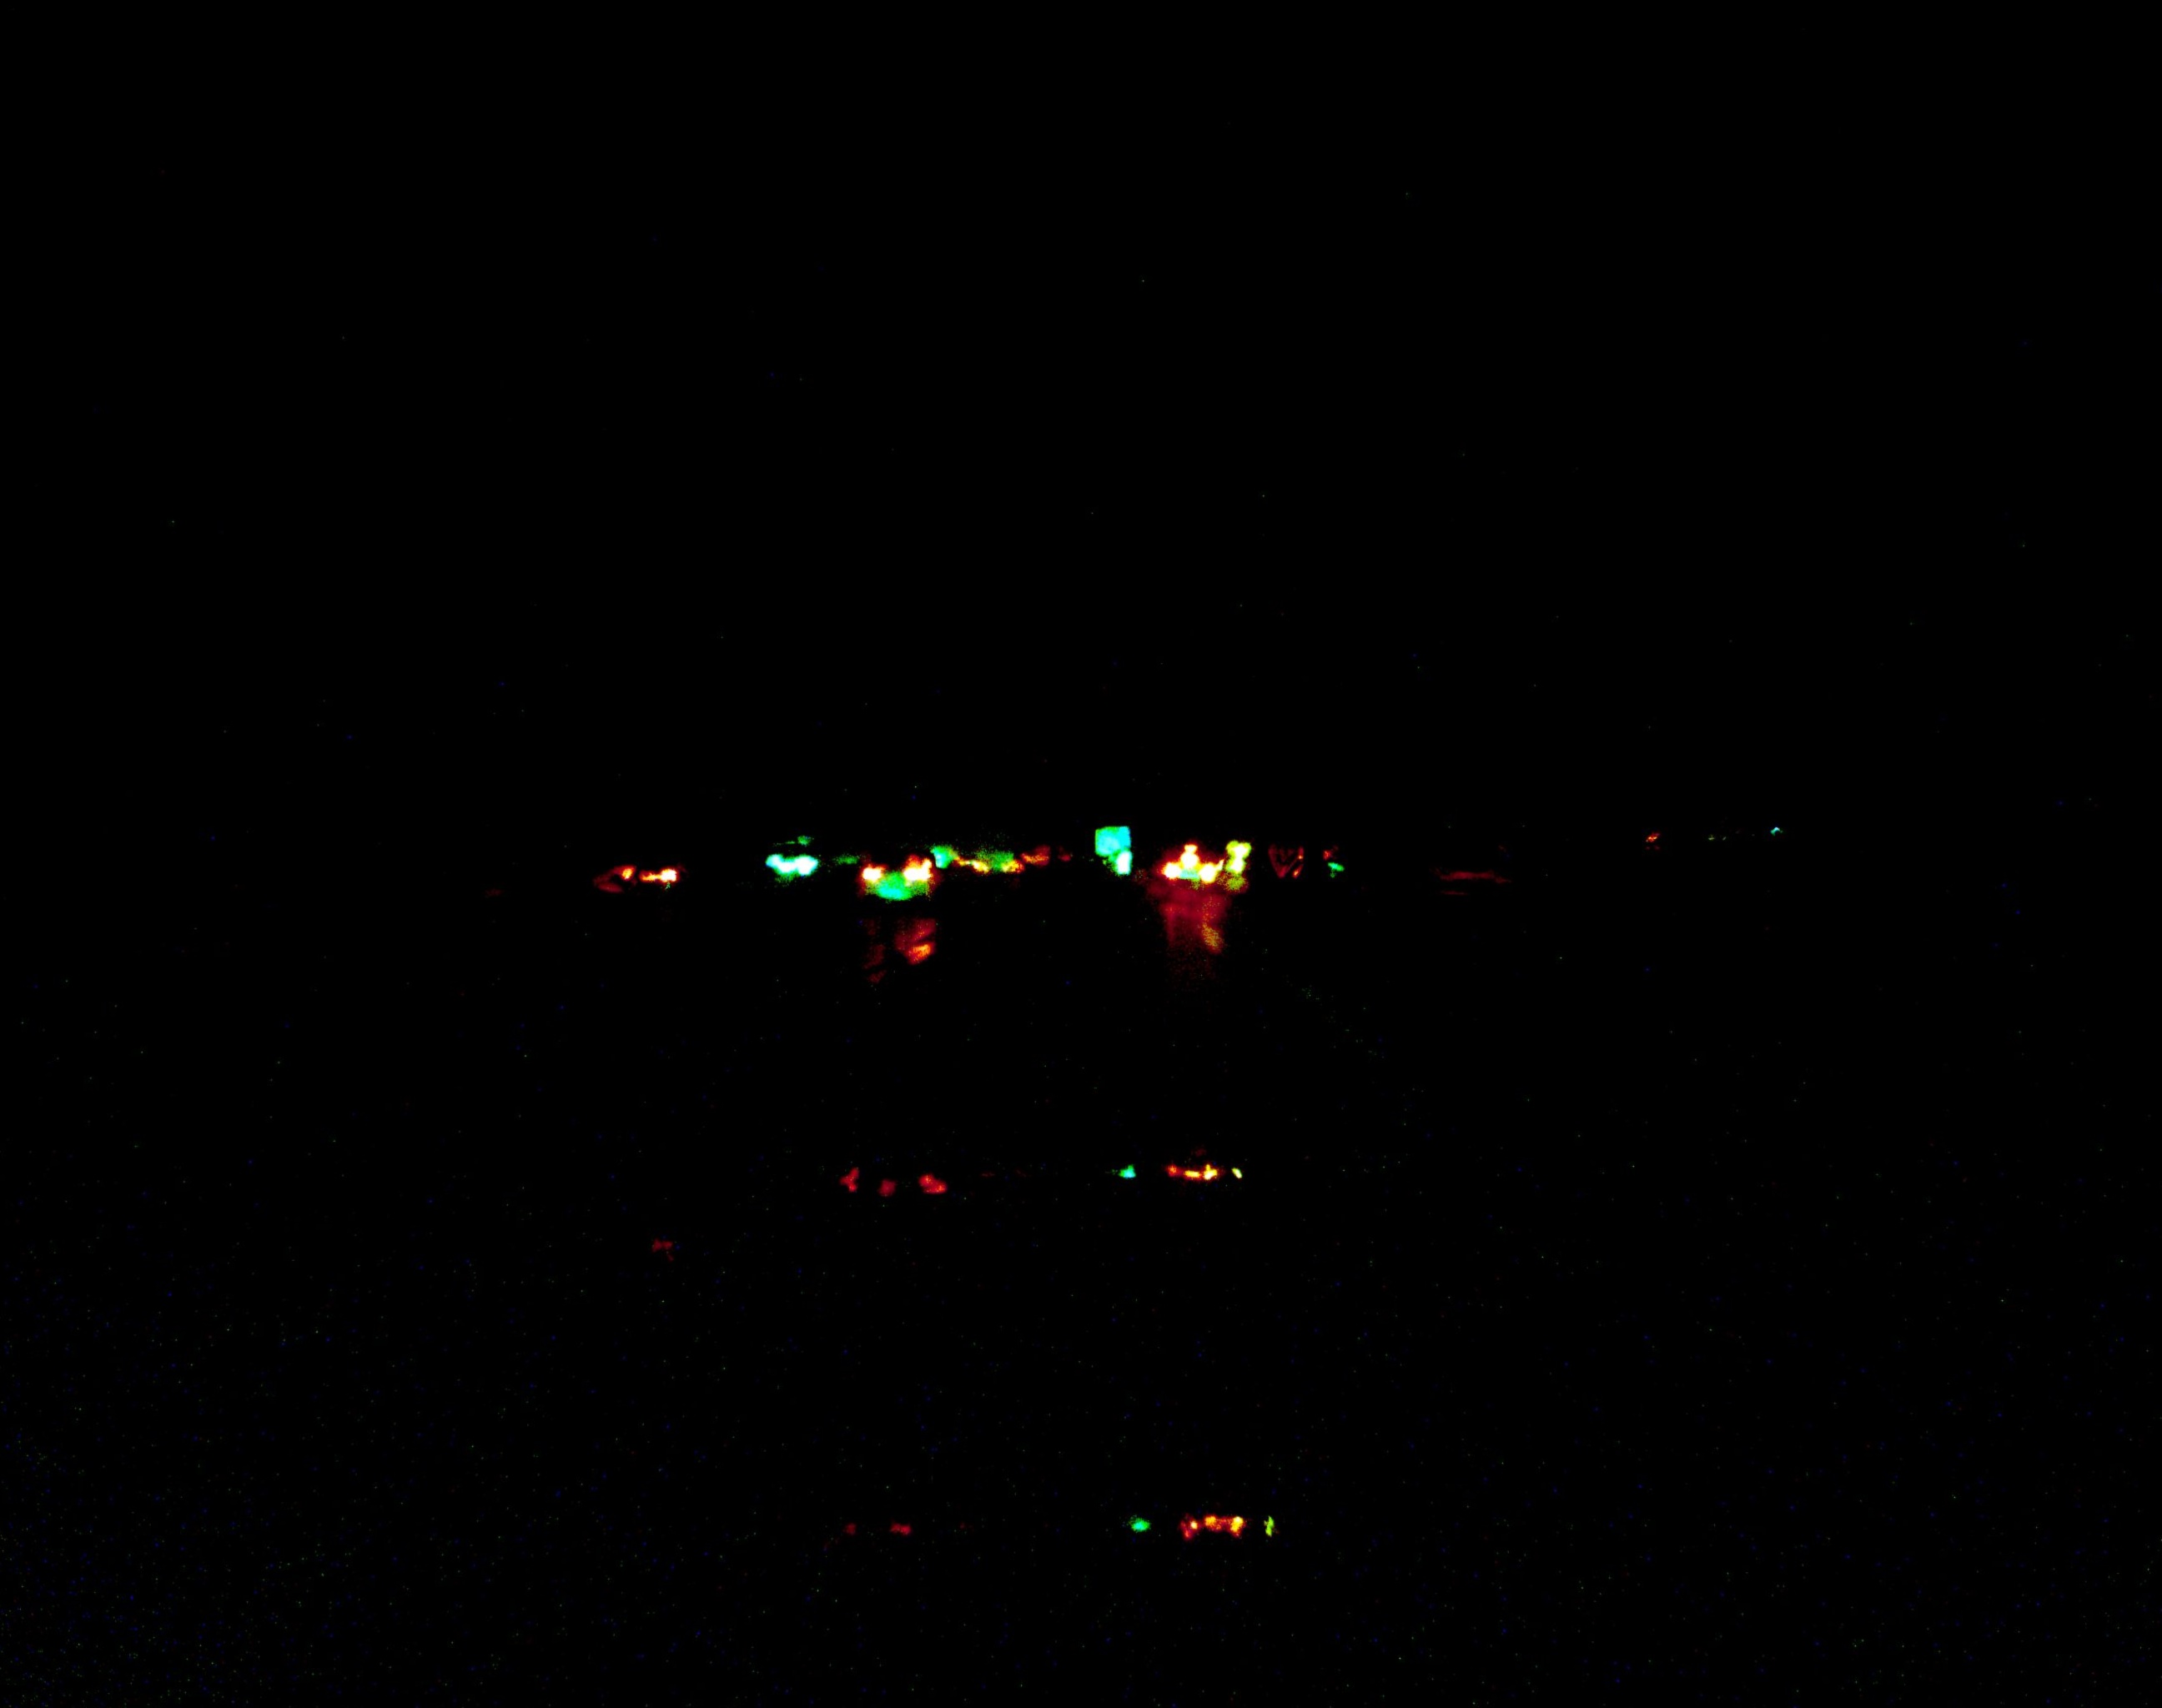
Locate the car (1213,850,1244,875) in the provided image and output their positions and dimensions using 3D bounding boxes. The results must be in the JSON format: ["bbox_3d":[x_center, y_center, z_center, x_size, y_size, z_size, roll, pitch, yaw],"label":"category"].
[{"bbox_3d":[11.345,0.631,62.400,1.979,1.807,4.016,0,0,15],"label":"car"}]

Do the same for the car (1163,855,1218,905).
[{"bbox_3d":[4.284,0.971,31.856,1.982,1.807,4.009,0,0,8],"label":"car"}]

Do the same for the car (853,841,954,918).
[{"bbox_3d":[-4.971,0.674,23.458,2.121,2.014,4.639,0,0,-4],"label":"car"}]

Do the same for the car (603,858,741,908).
[{"bbox_3d":[-13.230,0.888,26.792,1.988,1.476,5.162,0,0,-1],"label":"car"}]

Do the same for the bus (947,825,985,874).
[{"bbox_3d":[-11.407,-0.398,81.550,3.091,4.508,10.895,0,0,-4],"label":"bus"}]

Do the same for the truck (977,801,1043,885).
[{"bbox_3d":[-5.041,-0.735,60.729,4.199,5.648,11.459,0,0,-2],"label":"truck"}]
